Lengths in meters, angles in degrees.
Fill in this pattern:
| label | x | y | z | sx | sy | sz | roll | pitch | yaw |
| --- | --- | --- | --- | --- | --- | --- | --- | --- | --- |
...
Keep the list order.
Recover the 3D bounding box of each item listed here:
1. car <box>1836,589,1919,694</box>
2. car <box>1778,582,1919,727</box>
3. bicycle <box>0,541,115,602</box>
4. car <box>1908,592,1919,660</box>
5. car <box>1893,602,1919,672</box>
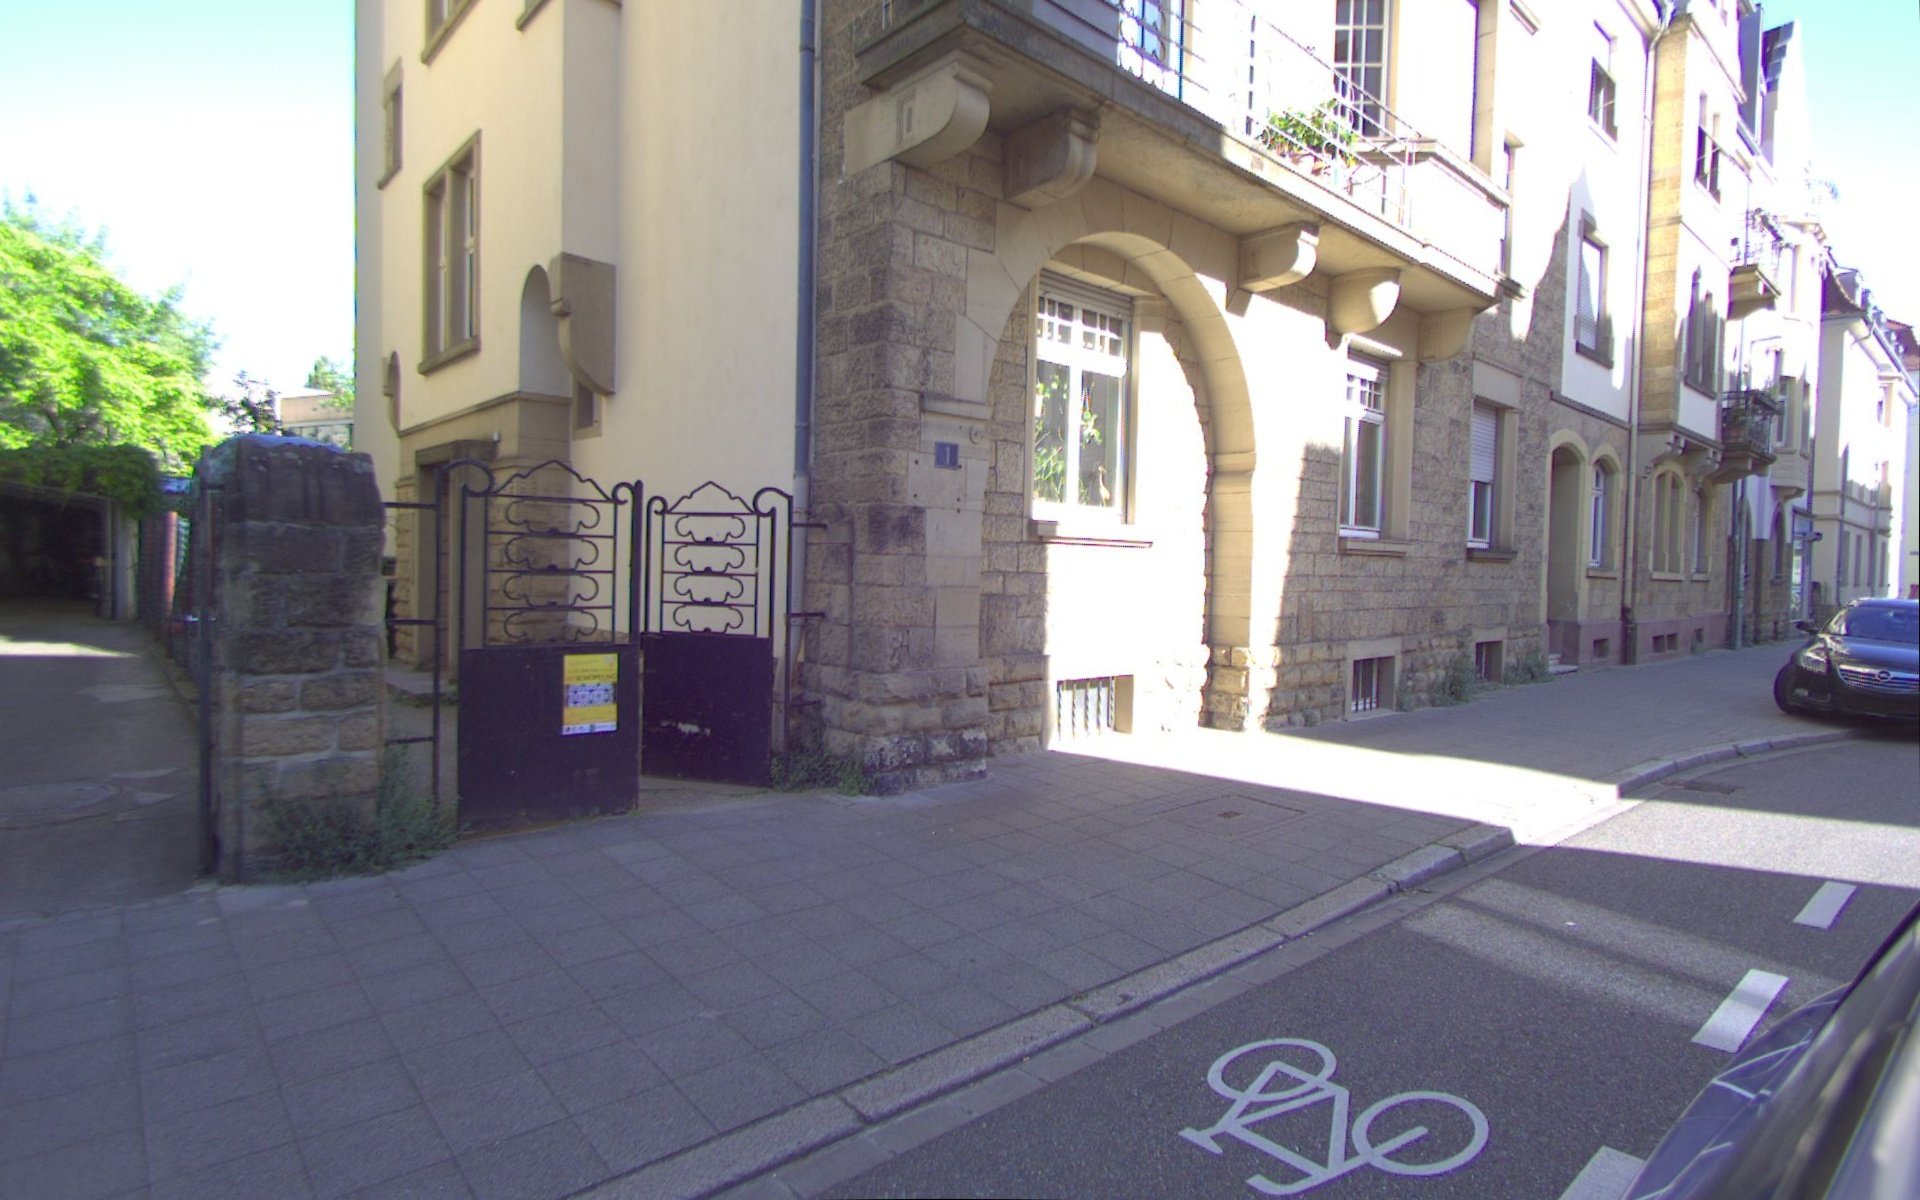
| label | x | y | z | sx | sy | sz | roll | pitch | yaw |
| --- | --- | --- | --- | --- | --- | --- | --- | --- | --- |
| car | 15.292 | 0.605 | 16.033 | 4.186 | 1.460 | 1.654 | 0 | 3 | -43 |
| car | 11.499 | 0.571 | 12.220 | 4.265 | 1.480 | 1.869 | 0 | 3 | -42 |
| bicycle | -18.361 | -0.604 | 20.456 | 2.834 | 1.124 | 0.865 | 3 | 2 | 25 |
| car | 22.445 | 0.575 | 22.576 | 1.787 | 1.447 | 3.746 | 3 | 2 | 44 |
| car | 19.302 | 0.691 | 19.496 | 3.875 | 1.270 | 1.694 | 0 | 1 | -44 |
